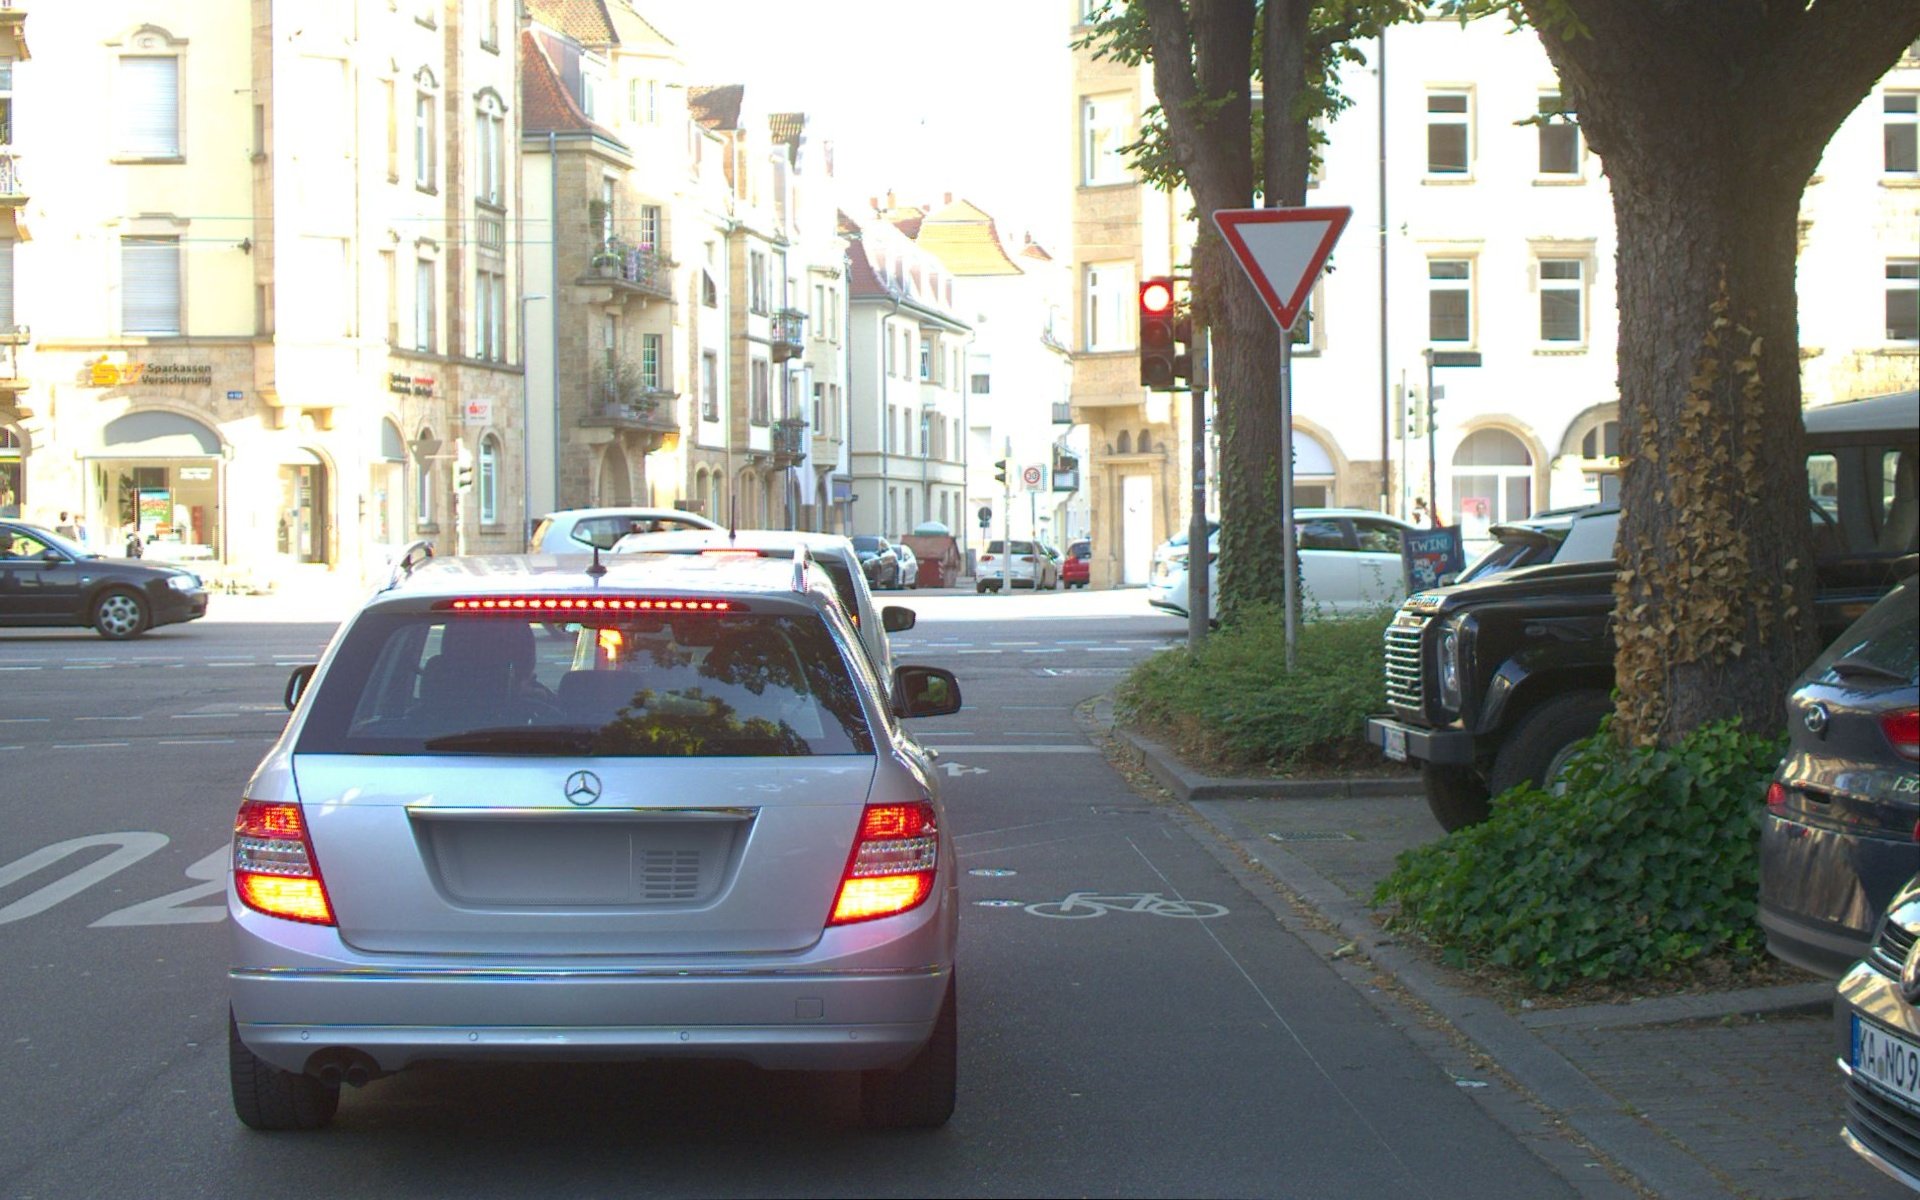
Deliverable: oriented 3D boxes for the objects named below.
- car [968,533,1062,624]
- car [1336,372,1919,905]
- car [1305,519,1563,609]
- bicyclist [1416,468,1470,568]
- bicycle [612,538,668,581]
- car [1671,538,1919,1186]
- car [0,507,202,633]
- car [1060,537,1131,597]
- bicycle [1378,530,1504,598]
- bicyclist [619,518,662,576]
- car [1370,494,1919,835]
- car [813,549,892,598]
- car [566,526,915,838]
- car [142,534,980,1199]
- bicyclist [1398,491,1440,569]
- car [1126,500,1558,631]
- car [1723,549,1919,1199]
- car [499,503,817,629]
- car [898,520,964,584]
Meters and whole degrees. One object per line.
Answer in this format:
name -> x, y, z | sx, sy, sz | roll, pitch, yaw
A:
car -> 1.464, -0.589, 90.073 | 2.031, 2.272, 3.999 | 0, 2, 7
car -> 3.956, 0.099, 14.358 | 4.464, 2.029, 1.701 | -1, 1, -4
car -> 6.411, -0.500, 46.594 | 3.221, 1.177, 1.320 | -1, 1, -9
bicyclist -> 9.059, -1.543, 64.514 | 0.891, 1.853, 0.637 | 0, 1, -5
bicycle -> -7.207, -0.911, 77.561 | 0.771, 0.930, 1.939 | 1, 2, 10
car -> 3.891, 0.536, 8.743 | 3.723, 1.447, 1.709 | -1, 1, -4
car -> -11.317, -0.349, 40.177 | 4.687, 1.424, 1.719 | -1, 1, -9
car -> 4.192, -1.030, 106.126 | 1.835, 1.738, 3.999 | 0, 2, 7
bicycle -> 9.017, -0.681, 64.527 | 2.256, 1.242, 0.637 | 0, 1, -5
bicyclist -> -7.206, -1.204, 77.555 | 0.771, 1.285, 0.752 | 1, 2, 10
car -> 4.086, 0.270, 17.287 | 3.723, 1.564, 1.709 | -1, 1, -4
car -> -3.313, -0.827, 106.652 | 1.835, 1.397, 3.999 | 0, 2, 7
car -> -1.126, 0.337, 18.199 | 1.619, 1.442, 4.345 | 0, 1, -3
car -> -0.958, 0.553, 9.609 | 1.777, 1.447, 4.549 | 0, 1, -3
bicyclist -> 8.424, -1.292, 63.114 | 0.643, 1.421, 0.637 | 0, 1, -6
car -> 4.395, -0.416, 39.821 | 4.660, 1.443, 1.740 | -1, 1, -10
car -> 3.705, 0.588, 6.525 | 4.052, 1.447, 1.723 | -1, 1, -4
car -> -3.640, -0.423, 41.189 | 3.685, 1.444, 1.516 | -1, 1, -9
car -> -1.005, -1.715, 121.486 | 1.787, 2.196, 3.999 | 0, 2, 7
